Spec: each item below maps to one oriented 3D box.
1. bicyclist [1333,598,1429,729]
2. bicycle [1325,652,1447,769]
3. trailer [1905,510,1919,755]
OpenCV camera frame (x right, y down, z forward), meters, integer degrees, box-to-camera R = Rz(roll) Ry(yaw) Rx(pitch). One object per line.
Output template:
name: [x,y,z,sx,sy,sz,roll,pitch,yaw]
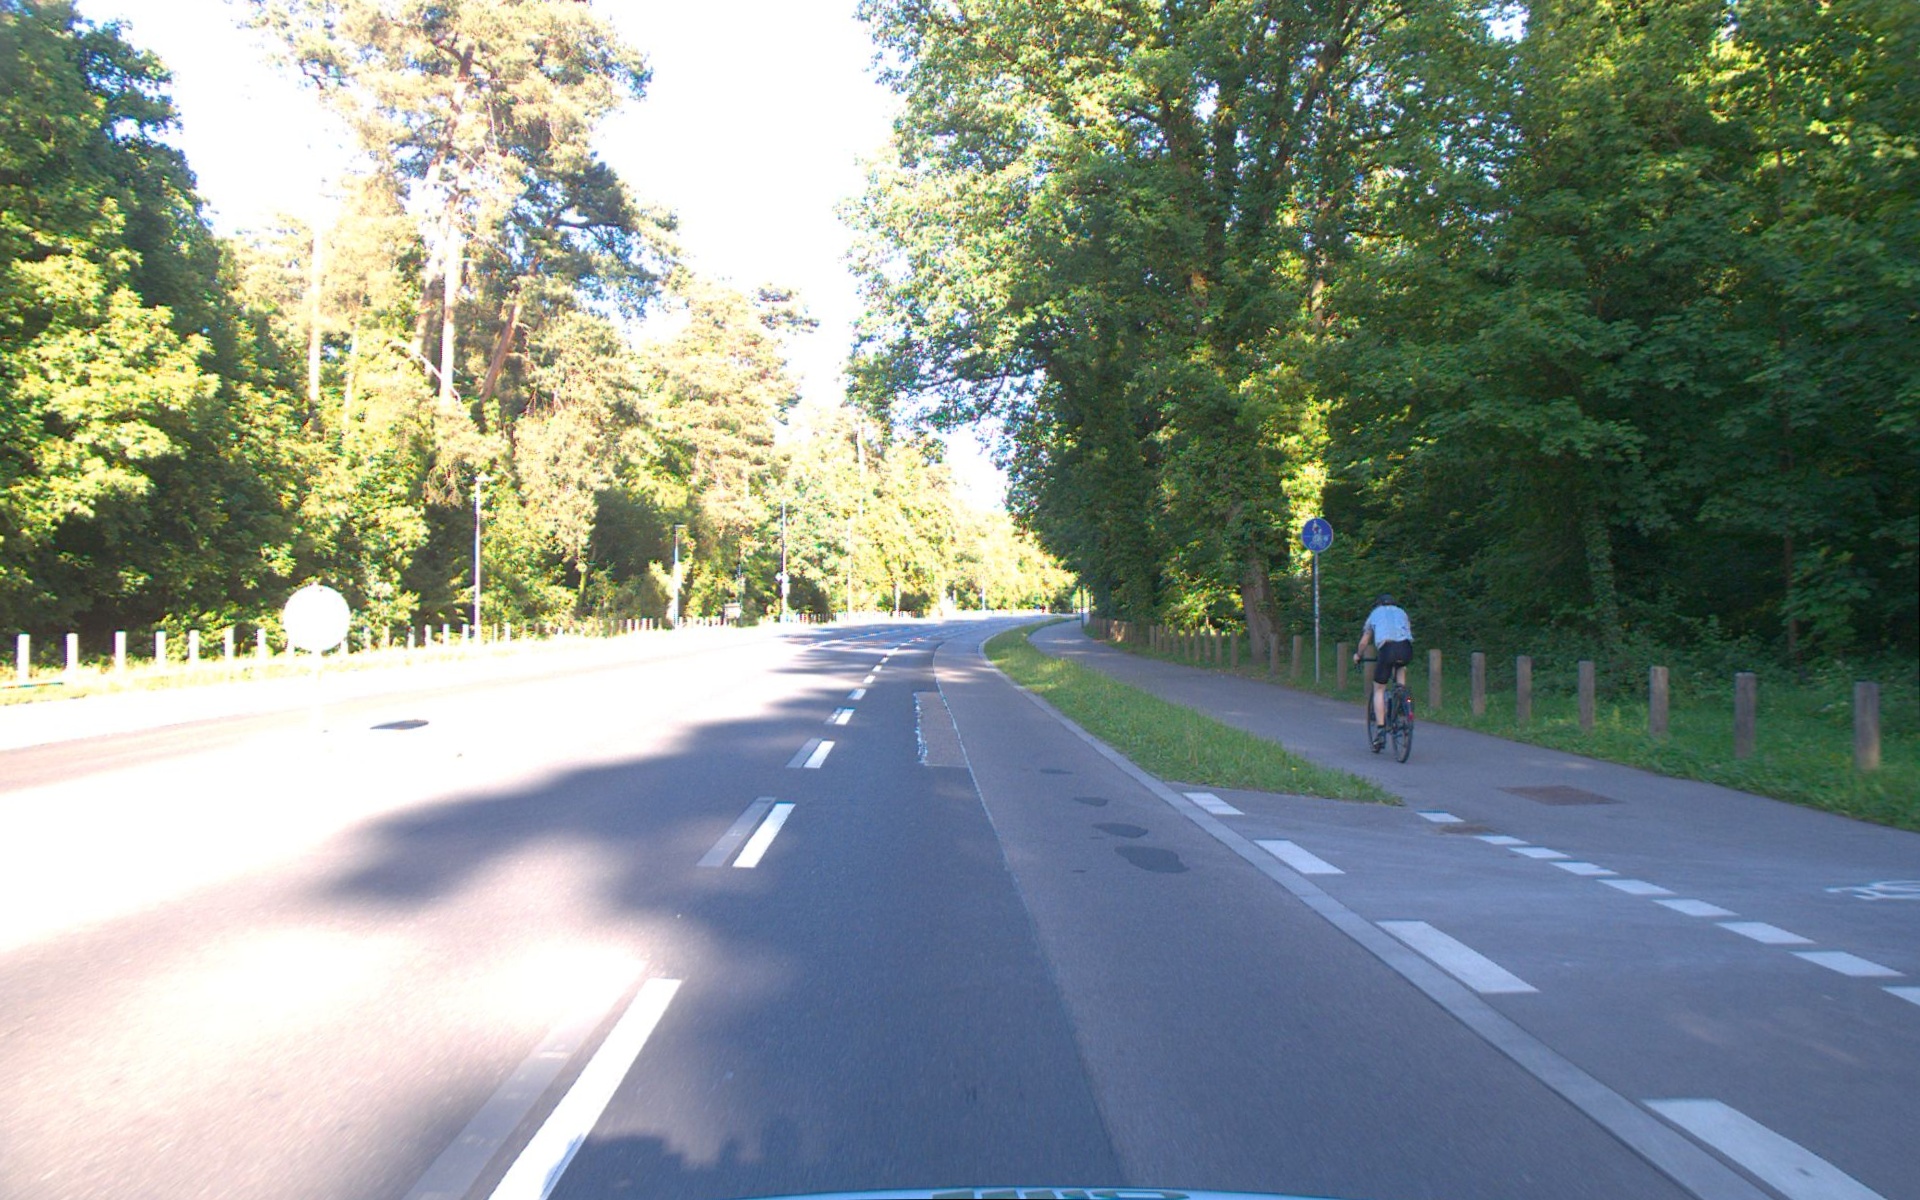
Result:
bicyclist: [4.346,0.634,17.132,0.697,1.311,1.104,0,0,-1]
bicycle: [4.342,1.101,17.011,0.697,1.074,2.052,0,0,-1]
trailer: [10.210,0.253,13.423,4.148,2.057,1.990,-1,-1,40]
